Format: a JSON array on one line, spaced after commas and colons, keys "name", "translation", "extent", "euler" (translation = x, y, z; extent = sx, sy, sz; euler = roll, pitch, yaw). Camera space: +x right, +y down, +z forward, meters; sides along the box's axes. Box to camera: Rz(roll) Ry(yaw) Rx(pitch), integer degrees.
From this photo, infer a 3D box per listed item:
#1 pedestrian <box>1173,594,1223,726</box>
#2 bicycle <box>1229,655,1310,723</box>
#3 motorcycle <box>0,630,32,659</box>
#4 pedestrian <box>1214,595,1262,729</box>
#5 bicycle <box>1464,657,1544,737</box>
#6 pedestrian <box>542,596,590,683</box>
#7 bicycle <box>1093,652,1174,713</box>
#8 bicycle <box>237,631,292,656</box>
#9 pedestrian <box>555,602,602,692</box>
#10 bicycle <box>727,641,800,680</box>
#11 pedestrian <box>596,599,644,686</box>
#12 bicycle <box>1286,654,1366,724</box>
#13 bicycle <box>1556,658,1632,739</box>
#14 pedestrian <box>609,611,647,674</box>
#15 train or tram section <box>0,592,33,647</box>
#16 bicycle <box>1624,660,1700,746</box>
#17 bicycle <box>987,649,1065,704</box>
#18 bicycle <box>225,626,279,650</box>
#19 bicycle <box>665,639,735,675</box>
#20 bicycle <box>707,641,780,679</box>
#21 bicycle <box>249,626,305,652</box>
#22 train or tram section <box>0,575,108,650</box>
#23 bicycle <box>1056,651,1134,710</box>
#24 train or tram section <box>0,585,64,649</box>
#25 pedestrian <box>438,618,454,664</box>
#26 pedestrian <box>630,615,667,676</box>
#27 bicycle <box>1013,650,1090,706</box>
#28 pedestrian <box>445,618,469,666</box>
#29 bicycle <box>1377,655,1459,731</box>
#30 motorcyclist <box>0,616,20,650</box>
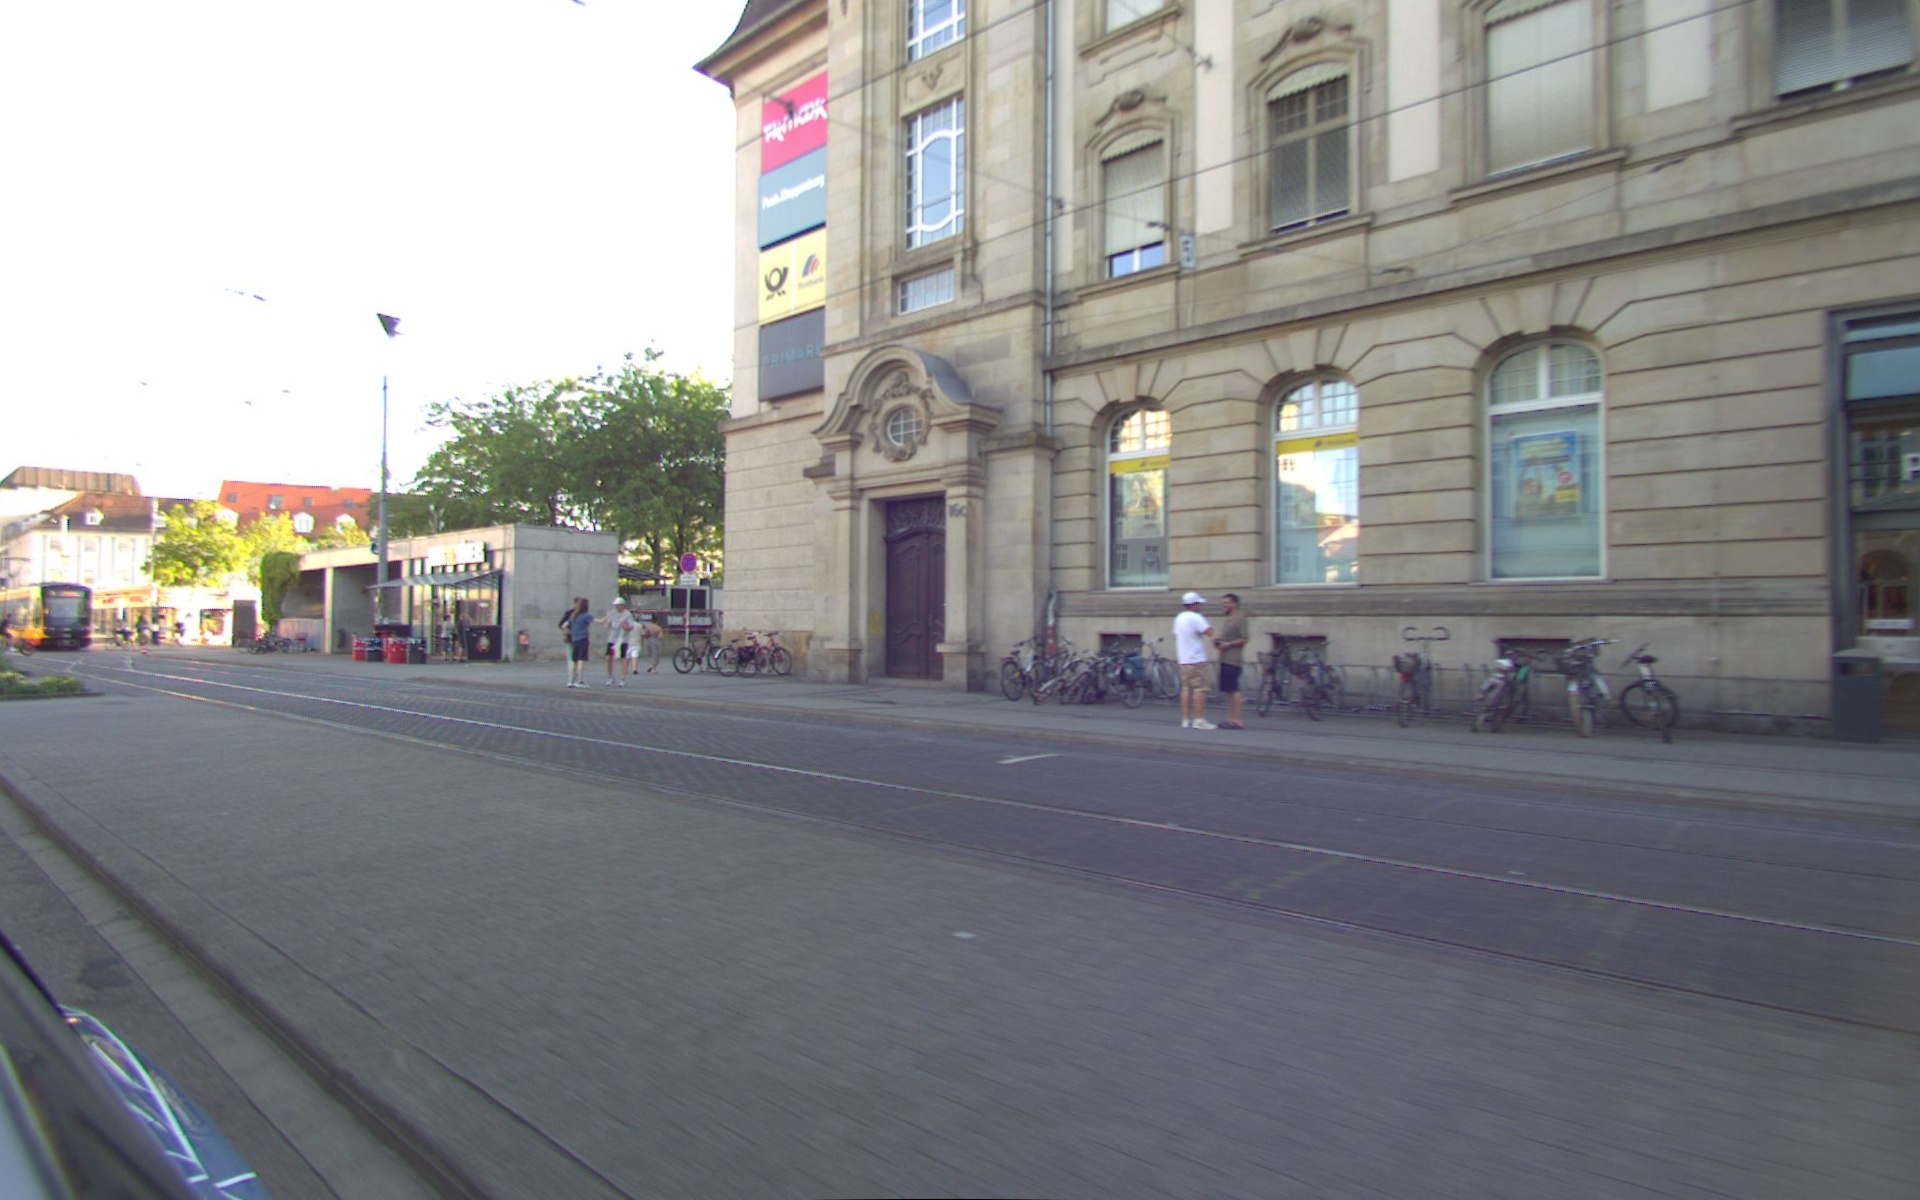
[{"name": "pedestrian", "translation": [3.053, 0.754, 12.988], "extent": [0.370, 1.643, 0.494], "euler": [0, -1, -37]}, {"name": "bicycle", "translation": [4.561, 1.283, 14.886], "extent": [1.557, 0.880, 0.451], "euler": [0, -1, -45]}, {"name": "motorcycle", "translation": [-41.391, 1.926, 43.692], "extent": [0.802, 1.247, 1.764], "euler": [-1, -1, 25]}, {"name": "pedestrian", "translation": [3.588, 0.783, 13.060], "extent": [0.492, 1.686, 0.372], "euler": [-1, -1, 36]}, {"name": "bicycle", "translation": [6.898, 1.198, 12.807], "extent": [1.557, 0.880, 0.451], "euler": [0, -1, -45]}, {"name": "pedestrian", "translation": [-8.034, 0.805, 20.625], "extent": [0.593, 1.750, 0.643], "euler": [-1, -4, 32]}, {"name": "bicycle", "translation": [2.803, 1.301, 16.239], "extent": [1.557, 0.880, 0.451], "euler": [0, -1, -45]}, {"name": "bicycle", "translation": [-33.841, 2.097, 49.282], "extent": [0.692, 1.168, 2.103], "euler": [-2, -2, 42]}, {"name": "pedestrian", "translation": [-7.523, 0.932, 19.987], "extent": [0.673, 1.750, 0.481], "euler": [0, -3, 11]}, {"name": "bicycle", "translation": [-4.888, 1.498, 25.284], "extent": [0.634, 0.875, 1.817], "euler": [-1, -1, 39]}, {"name": "pedestrian", "translation": [-7.032, 0.881, 20.935], "extent": [0.666, 1.750, 0.681], "euler": [4, -4, -43]}, {"name": "bicycle", "translation": [5.262, 1.252, 14.504], "extent": [1.557, 0.880, 0.451], "euler": [0, -1, -45]}, {"name": "bicycle", "translation": [7.876, 1.191, 12.547], "extent": [1.557, 0.880, 0.451], "euler": [0, -1, -45]}, {"name": "pedestrian", "translation": [-8.585, 1.089, 26.148], "extent": [0.679, 1.574, 0.653], "euler": [-1, -2, 37]}, {"name": "train or tram section", "translation": [-68.004, 1.414, 71.209], "extent": [10.779, 3.714, 2.865], "euler": [-2, -2, 41]}, {"name": "bicycle", "translation": [8.281, 1.184, 11.917], "extent": [1.557, 0.880, 0.451], "euler": [0, -1, -45]}, {"name": "bicycle", "translation": [1.189, 1.348, 18.024], "extent": [1.557, 0.880, 0.451], "euler": [0, -1, -45]}, {"name": "bicycle", "translation": [-35.127, 1.872, 50.231], "extent": [0.692, 1.168, 2.103], "euler": [-2, -2, 42]}, {"name": "bicycle", "translation": [-6.961, 1.503, 27.133], "extent": [0.634, 0.875, 1.817], "euler": [-1, -1, 39]}, {"name": "bicycle", "translation": [-5.476, 1.504, 25.709], "extent": [0.634, 0.875, 1.817], "euler": [-1, -1, 39]}, {"name": "bicycle", "translation": [-32.482, 1.844, 48.162], "extent": [0.692, 1.168, 2.103], "euler": [-2, -2, 42]}, {"name": "train or tram section", "translation": [-49.846, 0.788, 55.399], "extent": [13.473, 3.714, 2.865], "euler": [-2, -2, 41]}, {"name": "bicycle", "translation": [2.287, 1.335, 17.064], "extent": [1.557, 0.880, 0.451], "euler": [0, -1, -45]}, {"name": "train or tram section", "translation": [-59.385, 1.149, 63.731], "extent": [11.976, 3.714, 2.865], "euler": [-2, -2, 41]}, {"name": "pedestrian", "translation": [-18.850, 1.483, 37.130], "extent": [0.400, 1.665, 0.389], "euler": [-1, -1, 35]}, {"name": "pedestrian", "translation": [-8.223, 1.185, 26.753], "extent": [0.679, 1.574, 0.653], "euler": [-1, -2, 37]}, {"name": "bicycle", "translation": [1.614, 1.343, 17.692], "extent": [1.557, 0.880, 0.451], "euler": [0, -1, -45]}, {"name": "pedestrian", "translation": [-17.660, 1.466, 35.555], "extent": [0.551, 1.665, 0.556], "euler": [-1, -1, 35]}, {"name": "bicycle", "translation": [6.070, 1.206, 13.368], "extent": [1.557, 0.880, 0.451], "euler": [0, -1, -45]}, {"name": "motorcyclist", "translation": [-41.368, 1.424, 43.786], "extent": [0.795, 1.450, 0.794], "euler": [-1, -1, 24]}]
